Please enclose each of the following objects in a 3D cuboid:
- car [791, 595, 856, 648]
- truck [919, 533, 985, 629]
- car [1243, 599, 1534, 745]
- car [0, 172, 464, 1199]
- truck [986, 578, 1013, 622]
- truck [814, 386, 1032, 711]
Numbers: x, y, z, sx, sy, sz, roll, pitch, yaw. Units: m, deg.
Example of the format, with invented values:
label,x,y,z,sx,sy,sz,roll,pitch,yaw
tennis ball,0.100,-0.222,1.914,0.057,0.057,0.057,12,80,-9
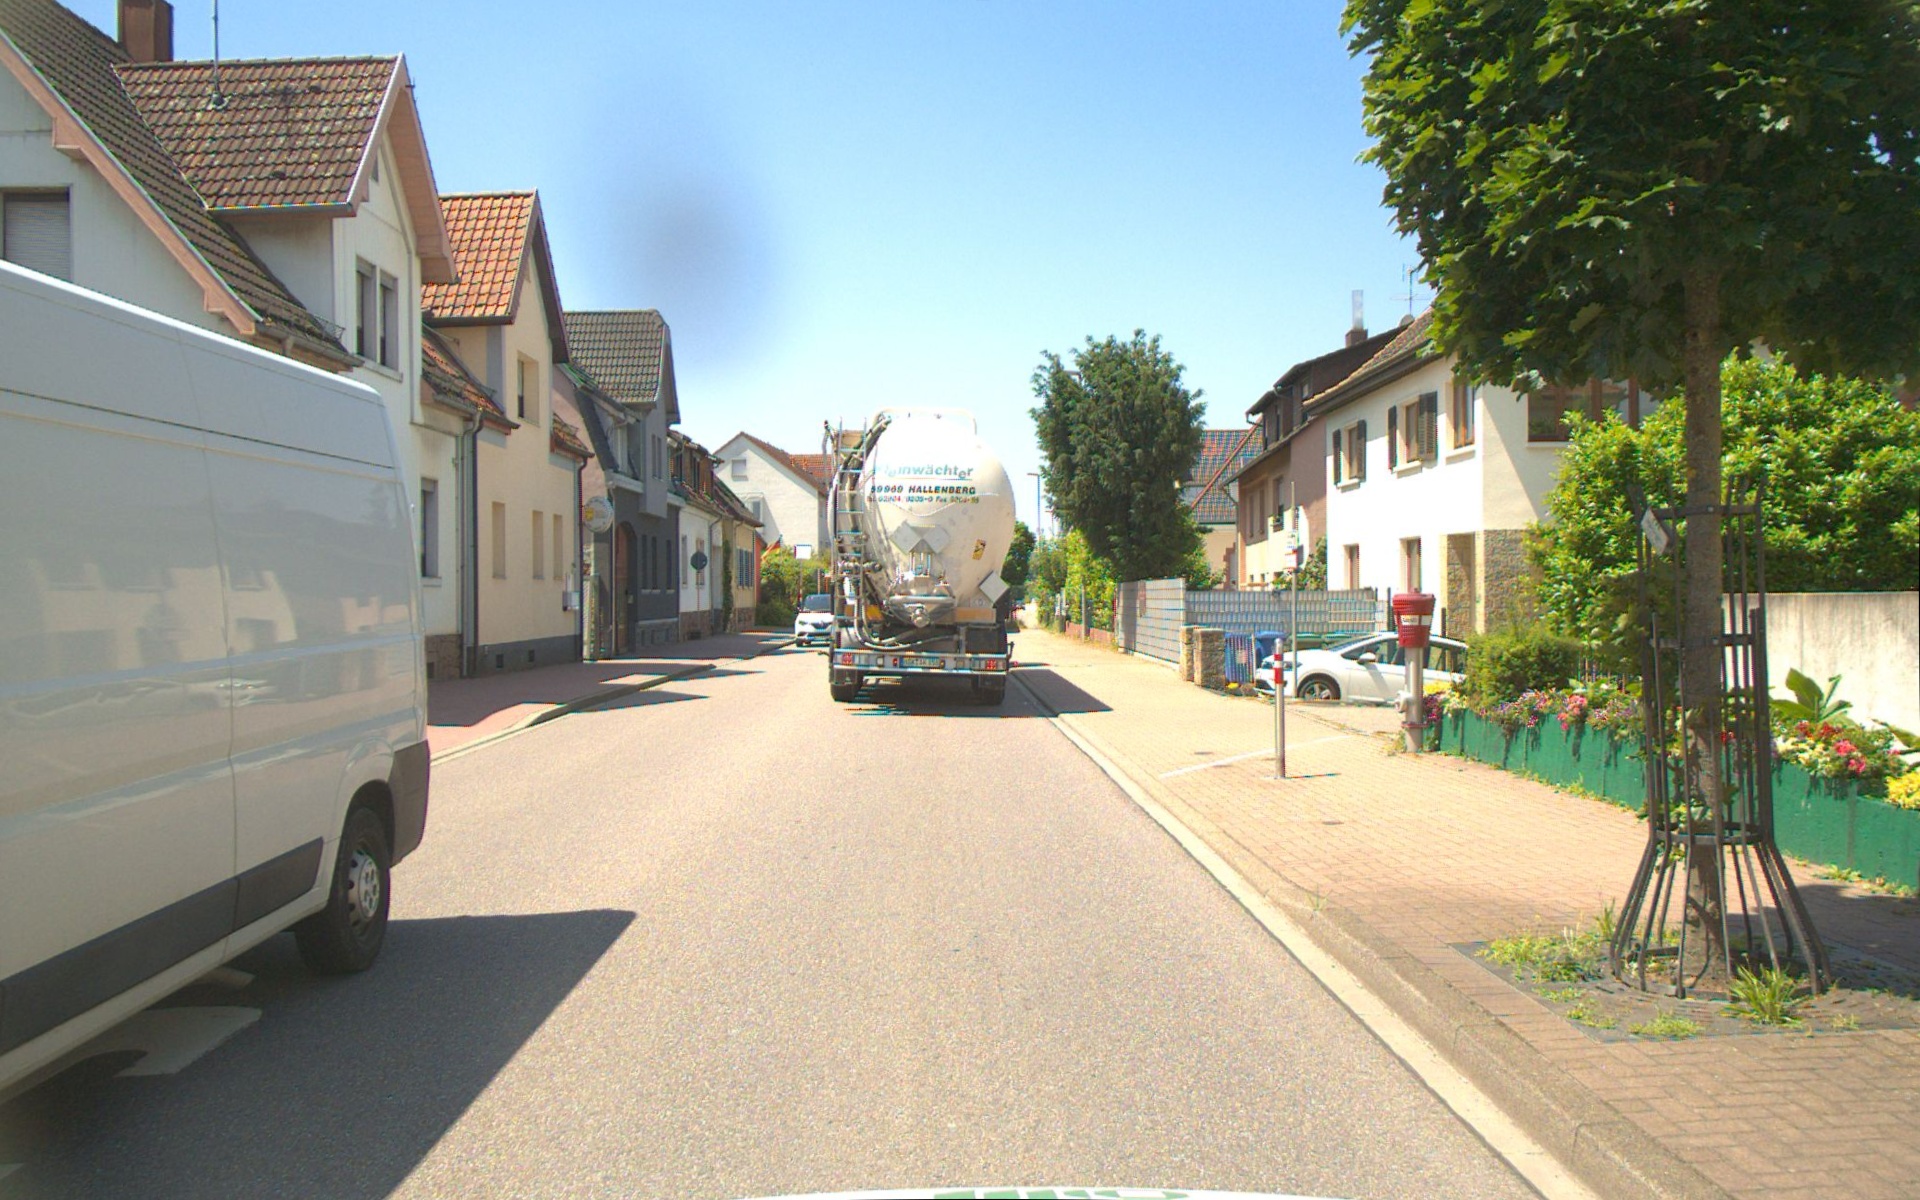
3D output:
label,x,y,z,sx,sy,sz,roll,pitch,yaw
car,-4.437,0.680,54.362,1.814,1.599,4.253,-3,0,-2
truck,-0.292,-0.775,74.814,2.676,4.029,8.142,1,-1,1
car,6.934,1.138,27.080,4.090,1.613,1.906,10,0,-1
car,-3.286,0.262,4.773,2.028,2.498,6.005,-1,0,-2
truck,3.058,0.011,128.020,1.952,3.192,9.450,1,0,2
truck,-0.584,-0.607,24.879,2.677,4.029,8.138,1,-1,-2
